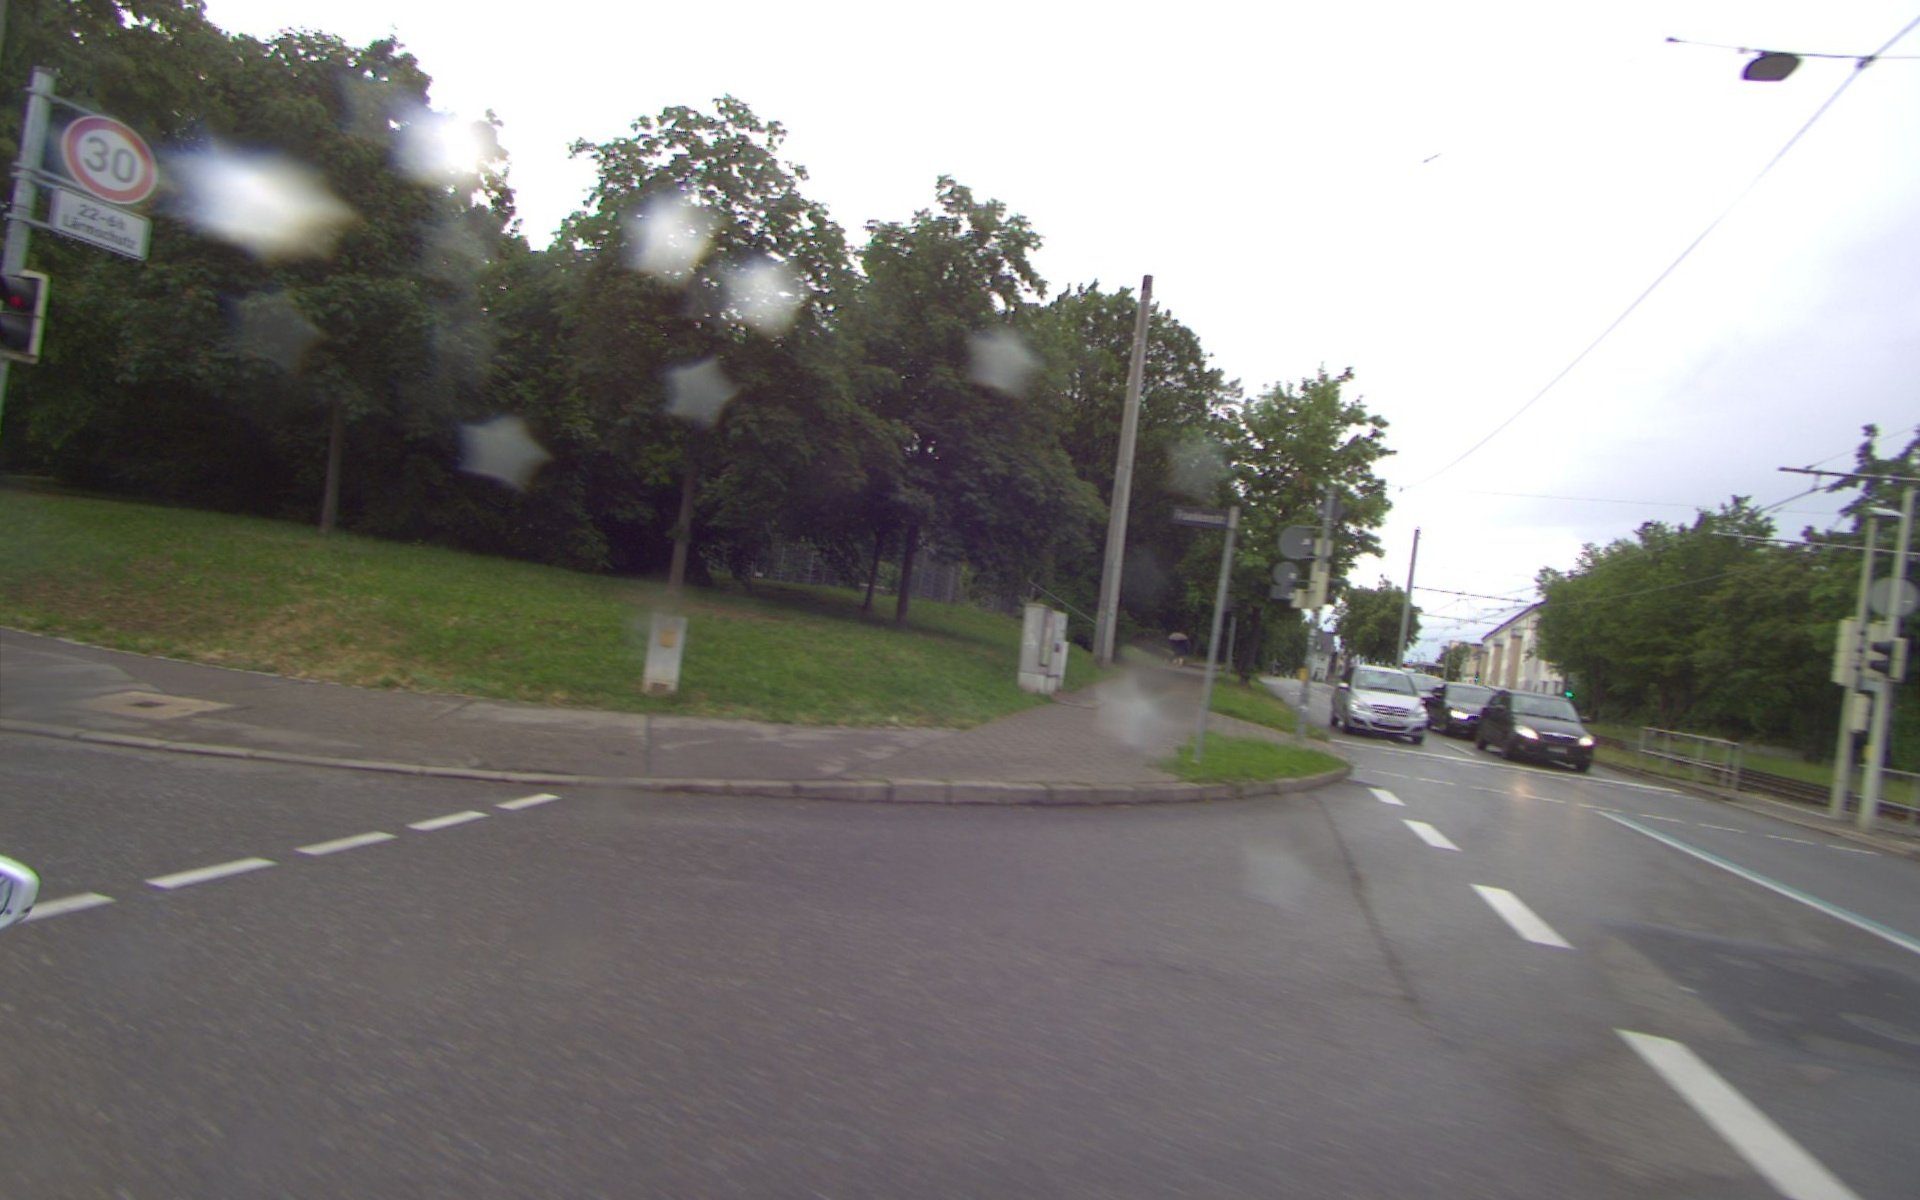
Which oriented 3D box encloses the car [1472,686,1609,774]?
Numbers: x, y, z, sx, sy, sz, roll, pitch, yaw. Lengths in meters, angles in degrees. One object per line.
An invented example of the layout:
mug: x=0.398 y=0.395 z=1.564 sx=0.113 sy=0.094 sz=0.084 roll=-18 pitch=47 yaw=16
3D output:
car: x=12.535 y=2.752 z=21.967 sx=1.576 sy=1.419 sz=3.793 roll=6 pitch=-1 yaw=16

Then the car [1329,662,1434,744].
car: x=10.045 y=2.404 z=24.236 sx=1.692 sy=1.573 sz=3.865 roll=6 pitch=-1 yaw=15

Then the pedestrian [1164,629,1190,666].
pedestrian: x=10.477 y=2.298 z=48.598 sx=0.997 sy=1.620 sz=1.041 roll=8 pitch=0 yaw=11

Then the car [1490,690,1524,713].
car: x=48.591 y=8.982 z=89.422 sx=1.677 sy=1.540 sz=3.793 roll=10 pitch=0 yaw=17

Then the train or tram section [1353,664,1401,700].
train or tram section: x=56.393 y=11.049 z=136.407 sx=3.997 sy=3.938 sz=15.055 roll=10 pitch=-1 yaw=18

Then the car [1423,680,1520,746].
car: x=14.163 y=3.088 z=28.069 sx=1.576 sy=1.419 sz=3.793 roll=7 pitch=-1 yaw=16

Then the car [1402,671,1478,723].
car: x=16.423 y=3.284 z=34.589 sx=1.576 sy=1.418 sz=3.793 roll=7 pitch=-1 yaw=16
